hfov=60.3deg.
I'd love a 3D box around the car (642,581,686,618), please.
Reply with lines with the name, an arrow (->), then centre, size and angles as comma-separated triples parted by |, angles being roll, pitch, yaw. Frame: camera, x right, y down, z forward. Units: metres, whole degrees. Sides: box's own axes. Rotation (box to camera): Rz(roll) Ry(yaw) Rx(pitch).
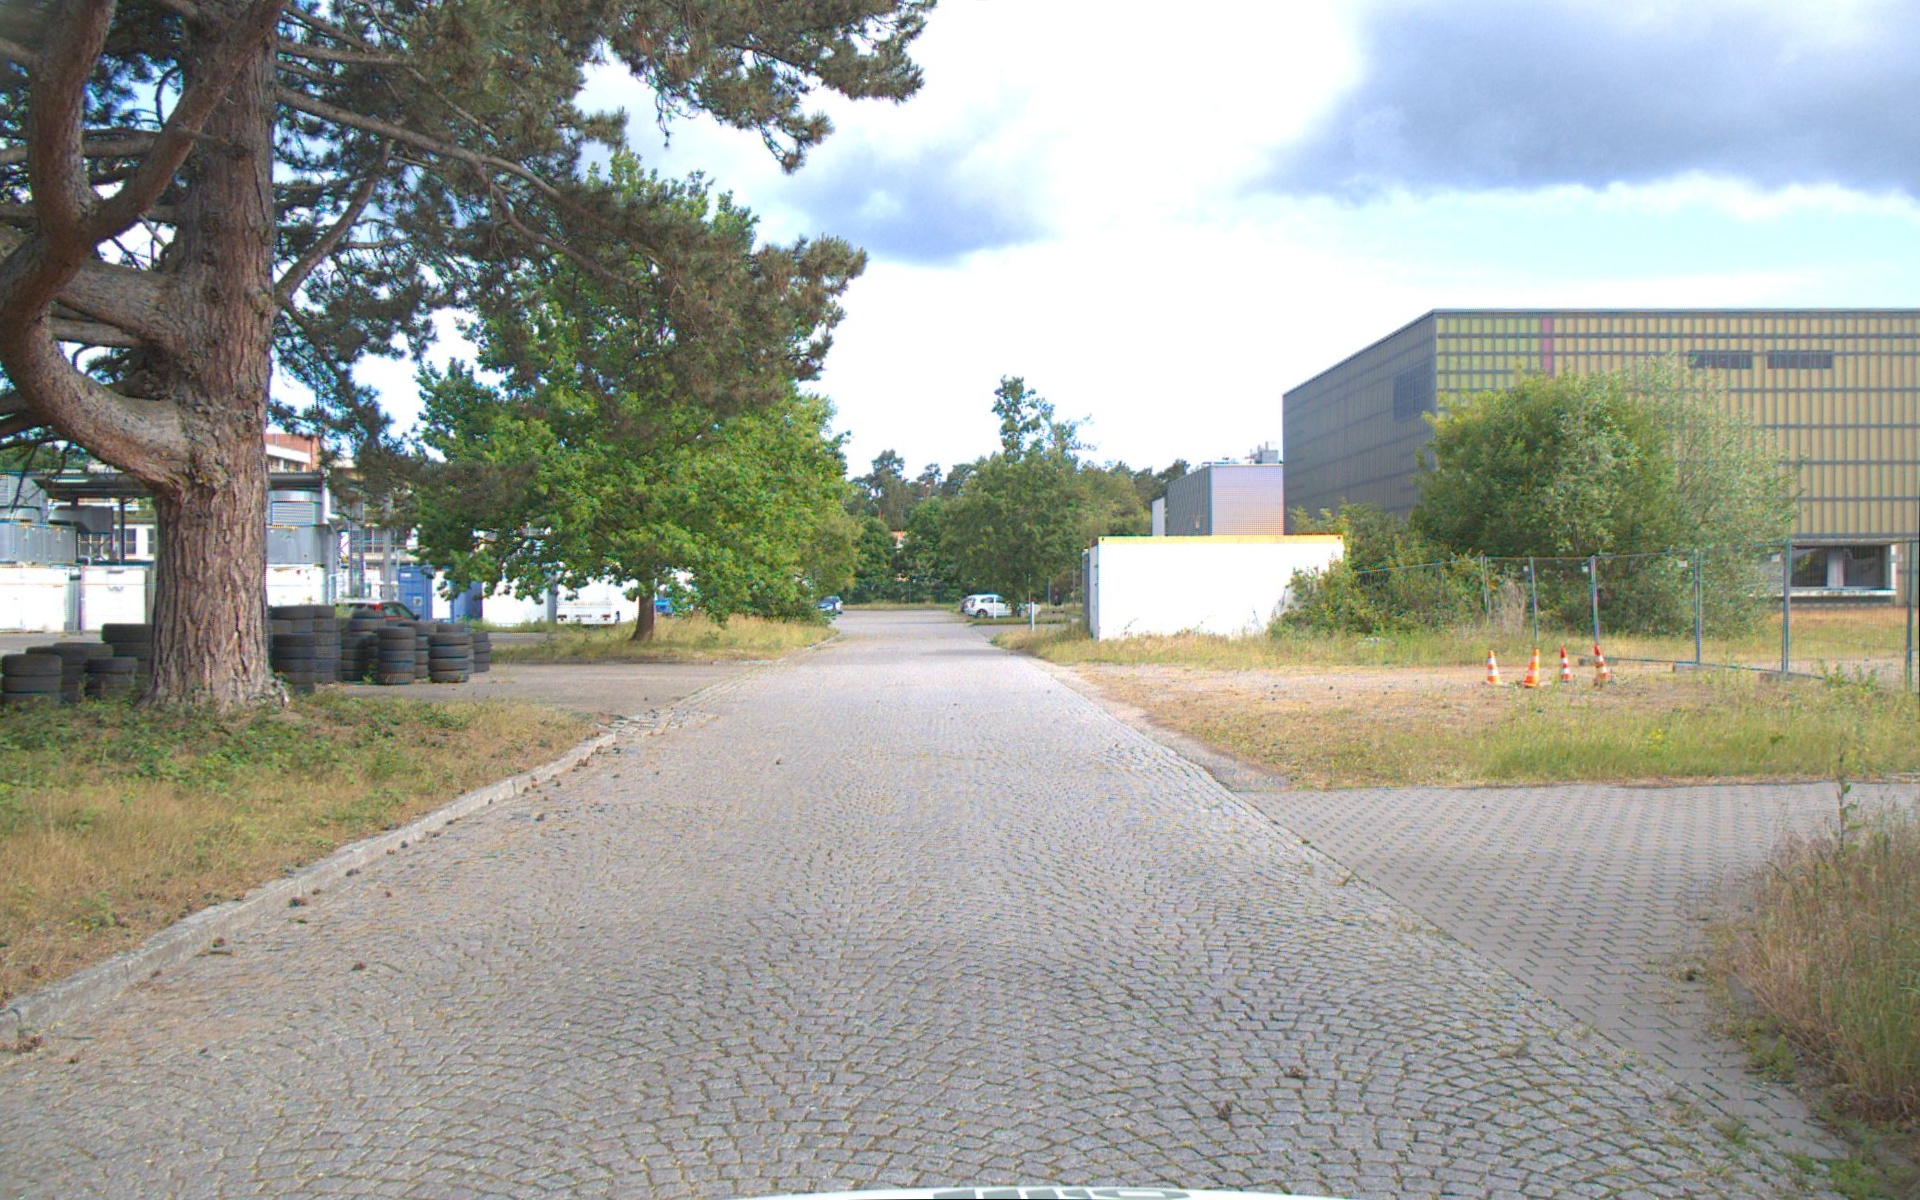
car -> -21.123, -0.036, 118.298 | 1.952, 2.567, 5.619 | -1, 0, 2

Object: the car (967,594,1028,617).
car -> 2.395, 0.384, 106.684 | 3.906, 1.481, 1.999 | 0, -1, -2

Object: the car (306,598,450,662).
car -> -14.176, 0.699, 40.548 | 1.785, 1.457, 4.221 | 0, 0, 4

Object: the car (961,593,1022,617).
car -> 2.043, 0.330, 108.842 | 3.906, 1.481, 1.697 | -1, 0, -2

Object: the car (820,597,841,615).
car -> -10.957, 0.530, 140.456 | 1.714, 1.480, 3.997 | -1, 0, -4

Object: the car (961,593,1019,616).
car -> 2.012, 0.320, 111.882 | 3.906, 1.481, 1.769 | -1, 0, -2

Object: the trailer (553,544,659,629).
trailer -> -16.688, -0.610, 78.750 | 2.602, 3.770, 10.722 | -1, 0, 1

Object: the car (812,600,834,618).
car -> -10.779, 0.701, 130.228 | 1.714, 1.388, 3.997 | -1, 0, -4
